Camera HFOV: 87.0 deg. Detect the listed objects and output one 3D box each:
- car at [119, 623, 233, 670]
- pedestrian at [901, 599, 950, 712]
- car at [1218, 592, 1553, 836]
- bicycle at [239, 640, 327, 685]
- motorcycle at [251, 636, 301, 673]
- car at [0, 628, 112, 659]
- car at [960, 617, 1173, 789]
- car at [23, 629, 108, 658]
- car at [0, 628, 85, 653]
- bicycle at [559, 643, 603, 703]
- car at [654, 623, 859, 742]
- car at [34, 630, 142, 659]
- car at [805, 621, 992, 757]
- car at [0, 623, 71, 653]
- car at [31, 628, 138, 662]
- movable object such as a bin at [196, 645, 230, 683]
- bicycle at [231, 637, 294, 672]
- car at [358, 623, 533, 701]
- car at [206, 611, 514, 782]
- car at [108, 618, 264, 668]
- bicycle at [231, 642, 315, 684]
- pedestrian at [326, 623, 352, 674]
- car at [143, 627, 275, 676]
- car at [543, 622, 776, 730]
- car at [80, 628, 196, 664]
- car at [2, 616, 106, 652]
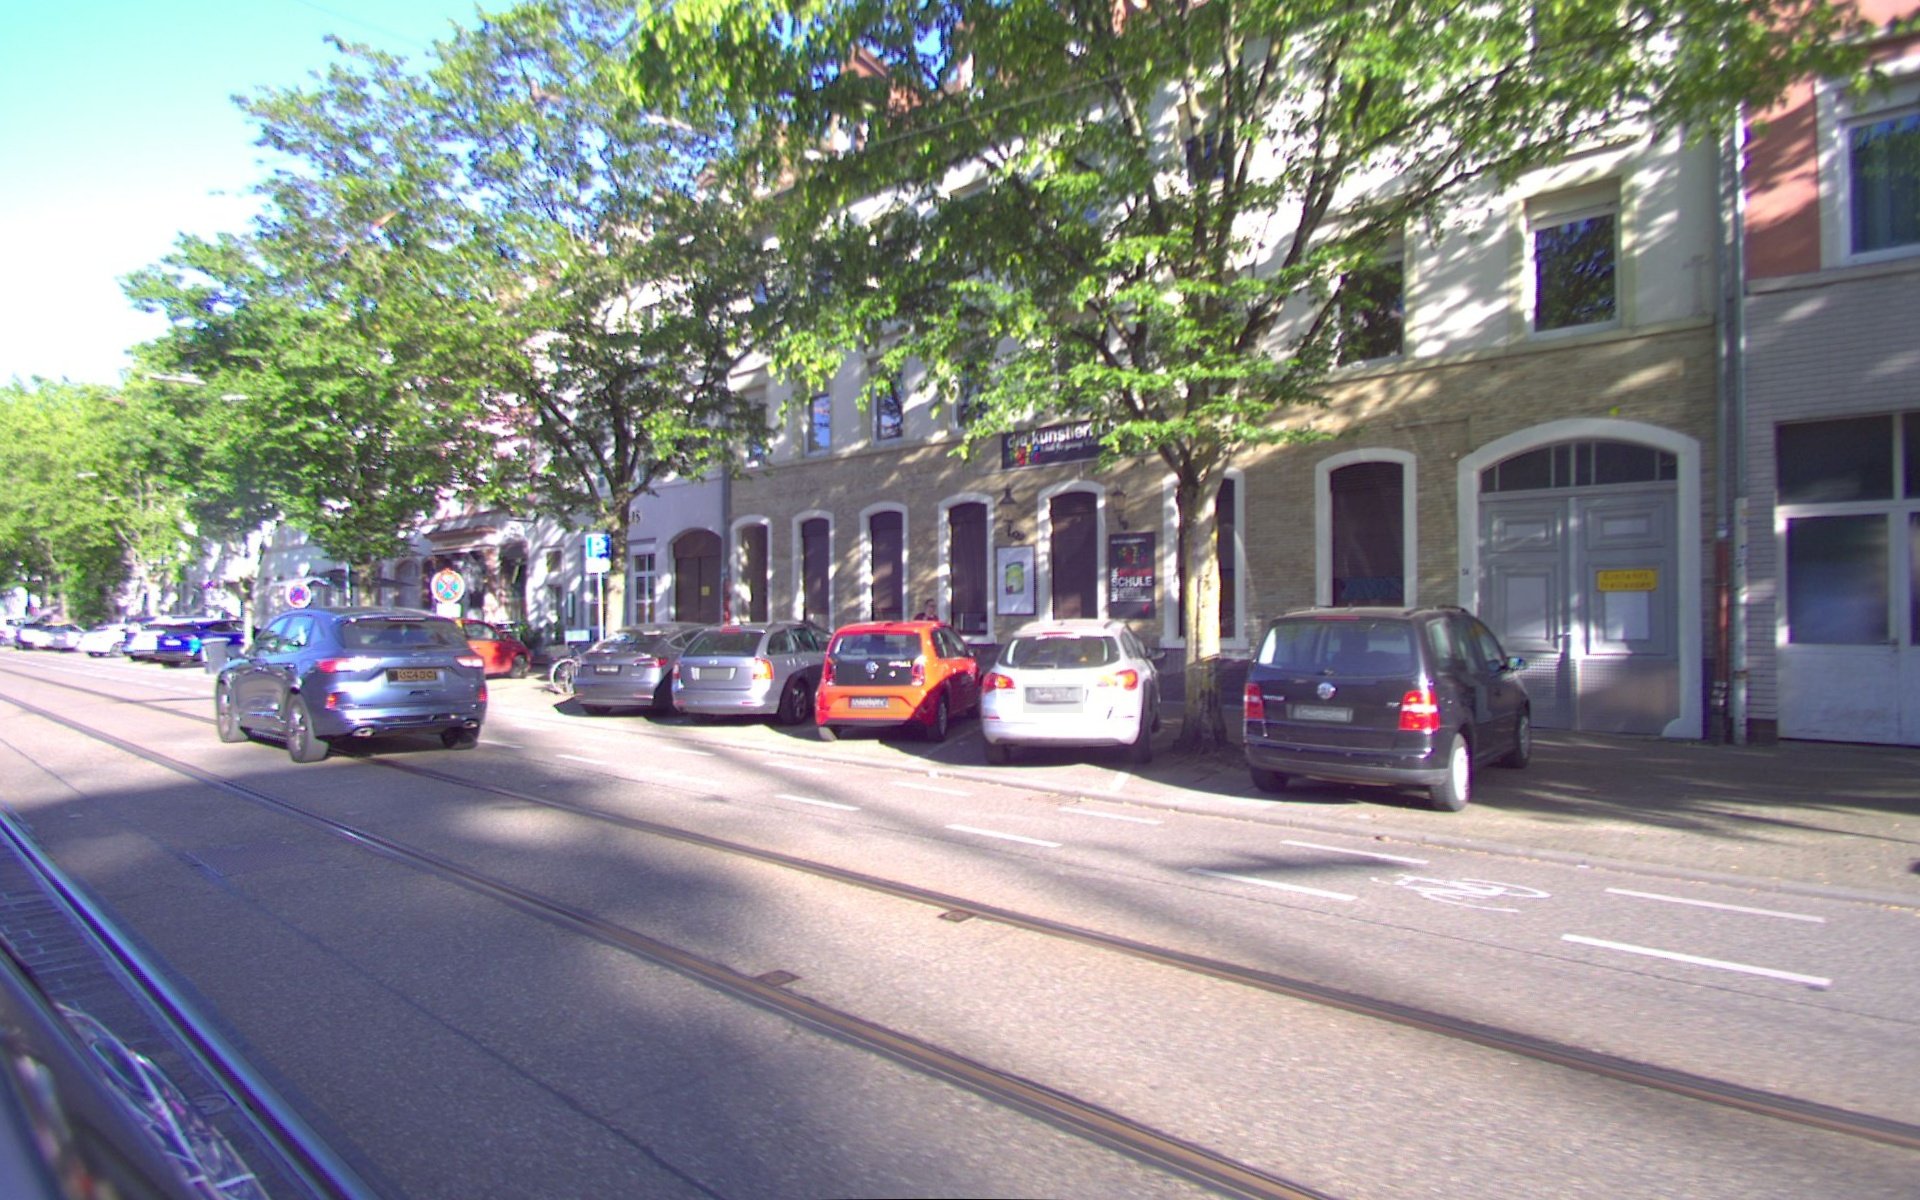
[{"bbox_3d":[-32.047,1.898,41.497,1.714,1.857,3.436,0,-2,9],"label":"car"},{"bbox_3d":[-0.641,1.016,18.671,0.556,2.029,0.723,-2,-3,42],"label":"pedestrian"},{"bbox_3d":[4.152,0.829,9.478,1.839,1.690,4.064,-2,0,39],"label":"car"},{"bbox_3d":[-19.384,1.777,29.020,0.567,1.095,1.981,-2,2,43],"label":"bicycle"},{"bbox_3d":[-24.495,1.941,36.301,0.714,1.263,2.607,1,-3,-16],"label":"motorcycle"},{"bbox_3d":[-52.722,2.492,58.914,2.161,1.737,4.781,-2,-2,39],"label":"car"},{"bbox_3d":[1.402,1.009,11.612,1.823,1.524,4.098,-2,0,14],"label":"car"},{"bbox_3d":[-50.563,2.428,57.244,1.378,1.565,3.343,-1,-2,28],"label":"car"},{"bbox_3d":[-63.592,2.789,69.751,1.951,1.588,4.652,-2,-1,36],"label":"car"},{"bbox_3d":[-7.235,1.375,19.371,0.328,1.104,1.595,0,-2,-4],"label":"bicycle"},{"bbox_3d":[-2.932,1.145,15.377,1.735,1.481,3.670,-1,0,12],"label":"car"},{"bbox_3d":[-47.899,2.437,55.687,1.693,1.564,4.136,-1,-3,25],"label":"car"},{"bbox_3d":[-0.696,1.100,13.621,1.597,1.504,3.360,-2,0,13],"label":"car"},{"bbox_3d":[-66.498,2.692,71.771,2.073,2.029,4.875,-2,-3,40],"label":"car"},{"bbox_3d":[-46.099,2.330,53.369,1.690,1.689,3.972,-1,-1,21],"label":"car"},{"bbox_3d":[-22.629,1.941,30.649,0.710,1.086,0.676,-2,1,42],"label":"movable object such as a bin"},{"bbox_3d":[-21.522,1.685,31.246,0.387,0.995,1.588,-2,-1,30],"label":"bicycle"},{"bbox_3d":[-11.914,1.382,23.697,1.653,1.565,3.607,-3,-1,15],"label":"car"},{"bbox_3d":[-7.175,0.971,11.926,4.247,1.642,1.907,0,-2,42],"label":"car"},{"bbox_3d":[-30.205,1.654,39.749,2.180,1.808,4.935,0,-1,3],"label":"car"},{"bbox_3d":[-20.323,1.844,29.960,0.568,1.087,1.946,-2,0,43],"label":"bicycle"},{"bbox_3d":[-22.659,1.755,36.920,0.624,1.852,0.636,-2,-3,42],"label":"pedestrian"},{"bbox_3d":[-26.486,1.805,35.847,1.553,1.621,3.896,0,-2,5],"label":"car"},{"bbox_3d":[-4.900,1.185,17.177,1.925,1.502,4.184,-1,0,14],"label":"car"},{"bbox_3d":[-37.223,2.086,45.940,1.873,1.541,3.621,-1,-2,21],"label":"car"},{"bbox_3d":[-54.895,2.034,61.368,2.161,2.134,4.393,-2,-2,39],"label":"car"}]
